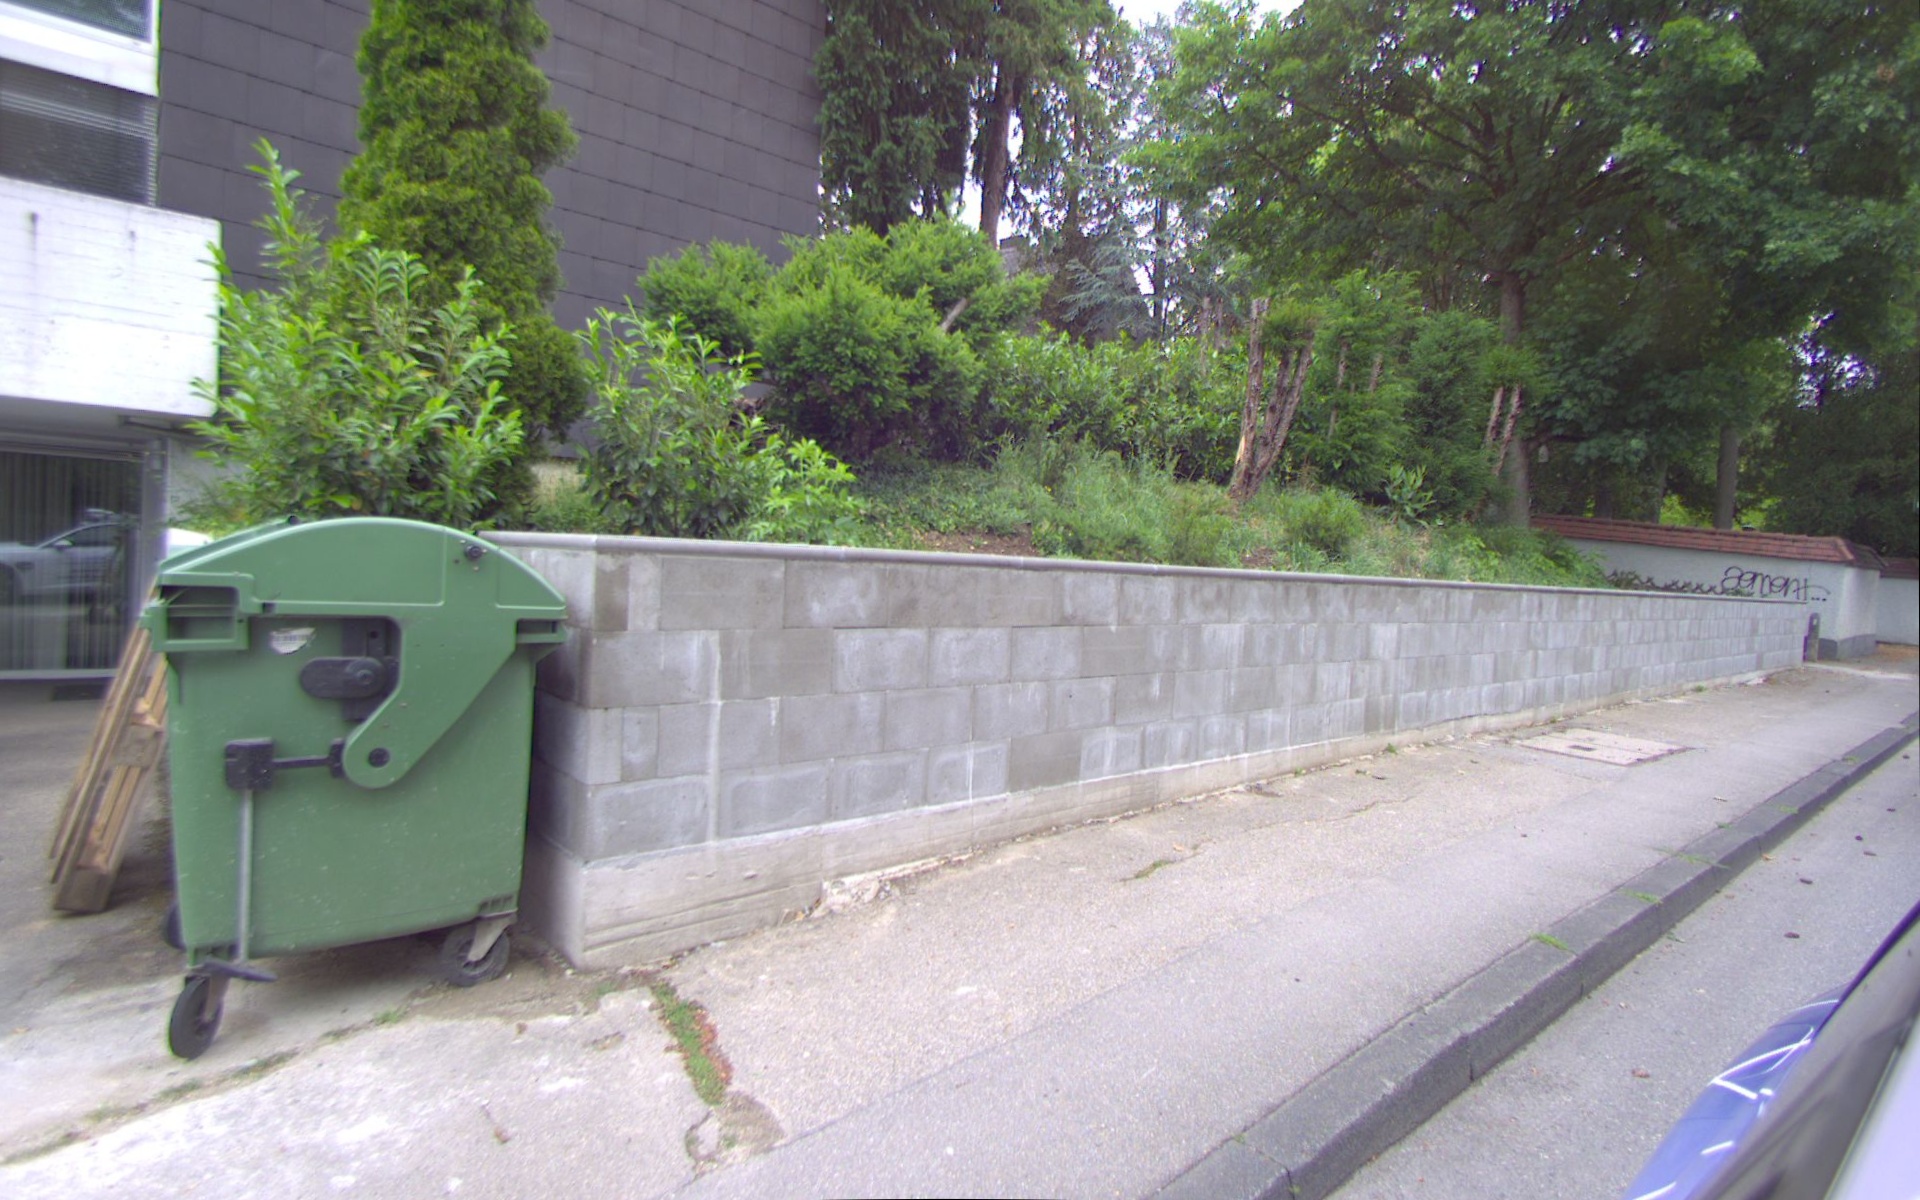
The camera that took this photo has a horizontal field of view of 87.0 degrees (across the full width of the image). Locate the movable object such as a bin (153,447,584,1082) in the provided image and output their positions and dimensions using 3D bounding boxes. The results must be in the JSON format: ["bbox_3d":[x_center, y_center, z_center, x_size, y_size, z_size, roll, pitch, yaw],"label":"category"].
[{"bbox_3d":[-1.877,0.378,3.181,1.014,1.549,1.037,0,2,-39],"label":"movable object such as a bin"}]
